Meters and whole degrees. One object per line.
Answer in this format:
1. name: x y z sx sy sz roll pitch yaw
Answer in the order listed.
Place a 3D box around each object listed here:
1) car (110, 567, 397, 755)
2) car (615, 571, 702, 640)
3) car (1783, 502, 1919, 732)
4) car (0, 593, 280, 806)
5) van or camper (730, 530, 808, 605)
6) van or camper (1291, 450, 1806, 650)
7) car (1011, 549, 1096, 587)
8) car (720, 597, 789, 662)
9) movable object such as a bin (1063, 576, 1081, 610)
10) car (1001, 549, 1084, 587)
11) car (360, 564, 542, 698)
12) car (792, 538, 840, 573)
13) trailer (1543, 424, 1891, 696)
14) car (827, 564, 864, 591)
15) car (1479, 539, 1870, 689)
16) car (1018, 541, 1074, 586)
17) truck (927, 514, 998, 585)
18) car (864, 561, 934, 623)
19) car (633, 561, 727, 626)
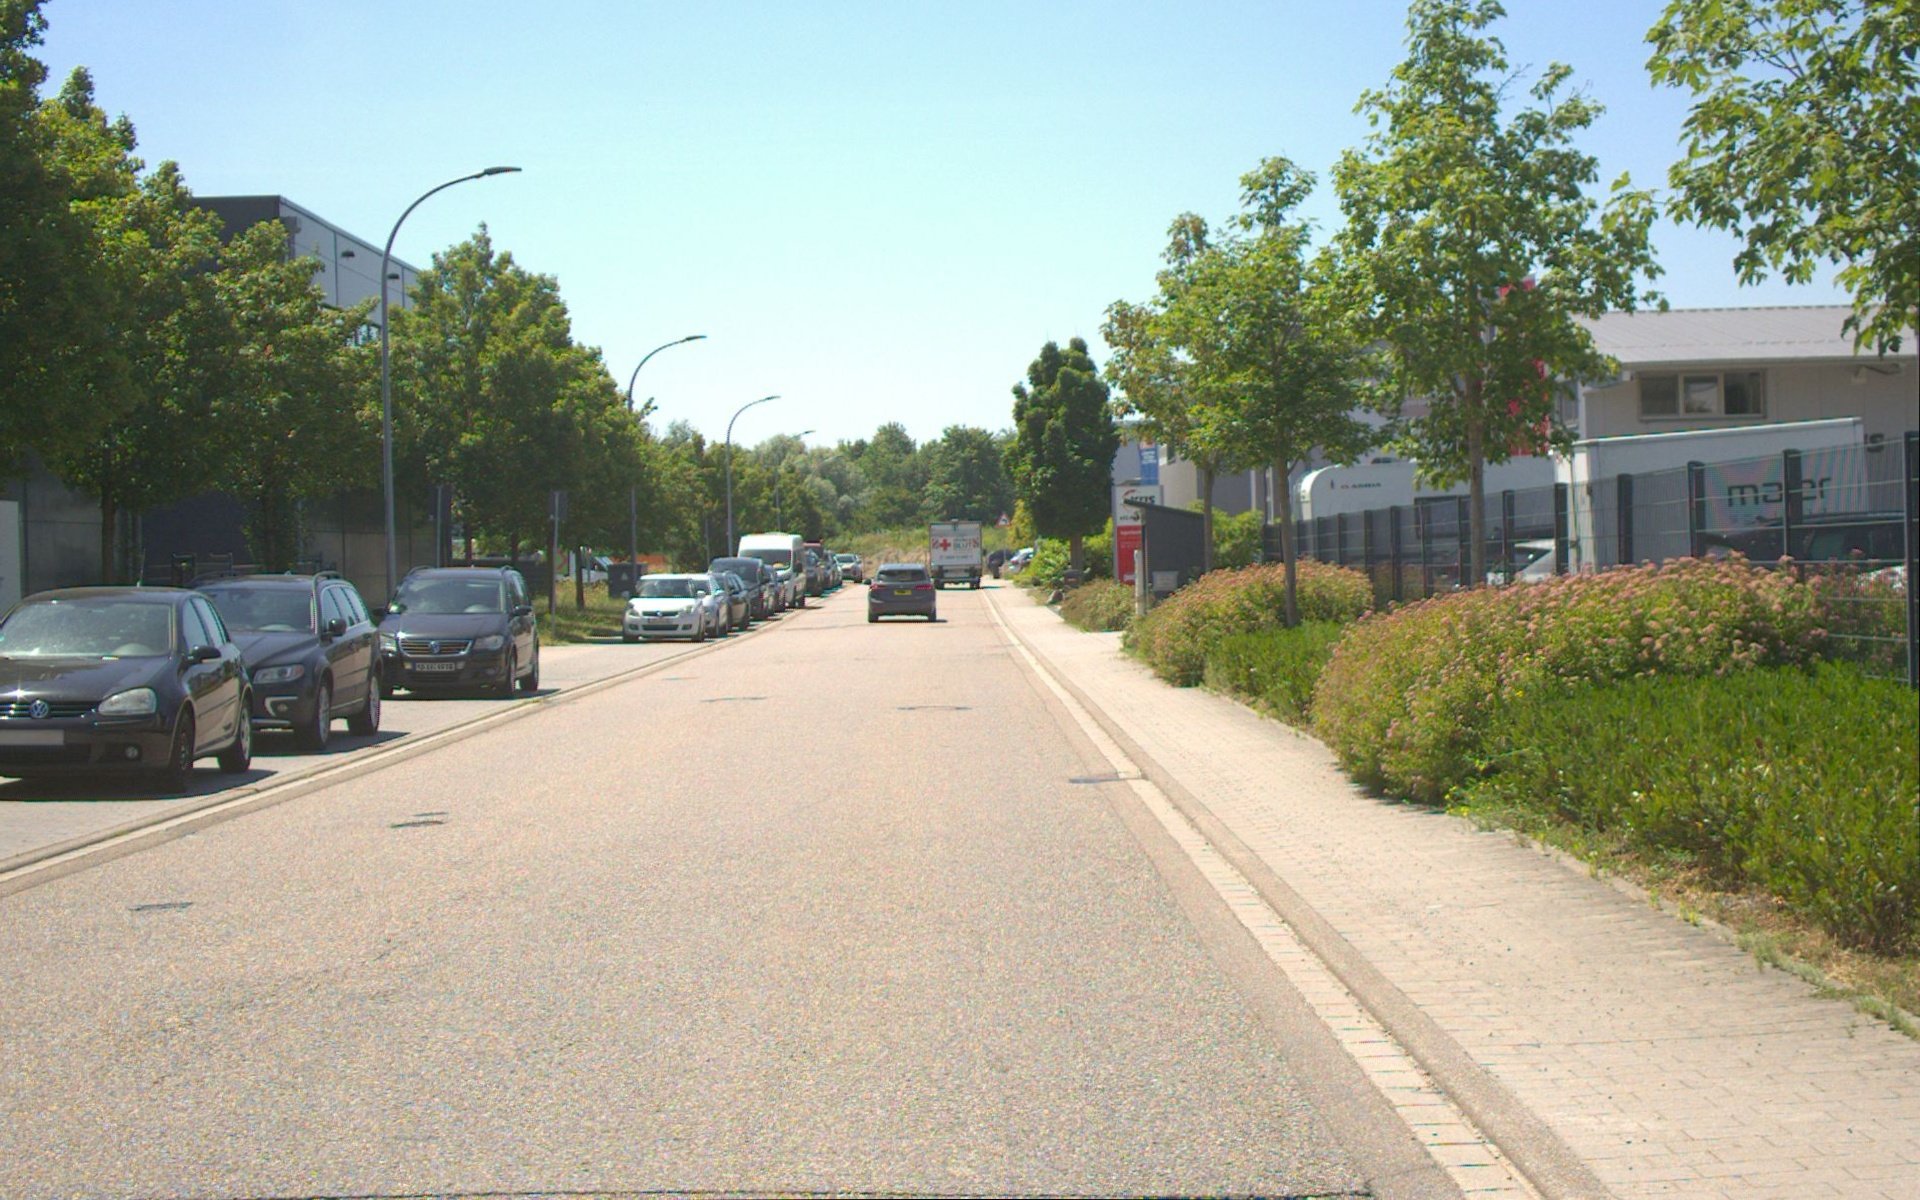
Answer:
1. car: -6.498 0.507 32.123 1.770 1.606 4.852 0 0 -1
2. car: -6.632 0.102 75.934 1.720 1.471 3.858 0 0 -2
3. car: 7.922 0.051 23.743 3.987 1.517 1.823 -2 0 -1
4. car: -6.394 0.681 25.739 1.771 1.426 4.201 -1 0 0
5. van or camper: -6.486 -1.102 117.286 2.079 2.474 6.130 1 0 2
6. van or camper: 8.257 -0.704 48.791 6.757 2.576 2.636 -2 0 -1
7. car: 4.441 -1.525 163.636 3.875 1.744 1.752 1 0 -2
8. car: -5.934 0.835 99.686 1.799 1.808 4.252 0 0 -1
9. movable object such as a bin: 3.437 -0.217 105.330 0.531 1.049 0.845 -1 0 2
10. car: 3.978 -1.552 166.063 3.875 1.744 1.752 1 0 -2
11. car: -6.433 0.359 43.848 1.770 1.606 4.248 0 0 -1
12. car: -6.271 -1.963 150.057 1.799 1.482 4.252 0 1 2
13. trailer: 7.113 -0.379 32.454 2.822 2.395 1.420 -3 1 -4
14. car: -6.455 -1.276 194.575 1.799 1.482 4.252 0 1 2
15. car: 7.883 0.146 38.132 3.839 1.435 1.806 -3 0 -4
16. car: 3.526 -1.502 141.955 1.993 1.797 4.140 -2 1 -2
17. truck: 0.110 -2.148 148.473 2.933 2.964 6.419 1 0 0
18. car: -1.626 -0.220 92.512 1.789 1.618 3.809 1 0 0
19. car: -6.587 -0.175 81.195 1.799 1.471 4.554 0 0 0
